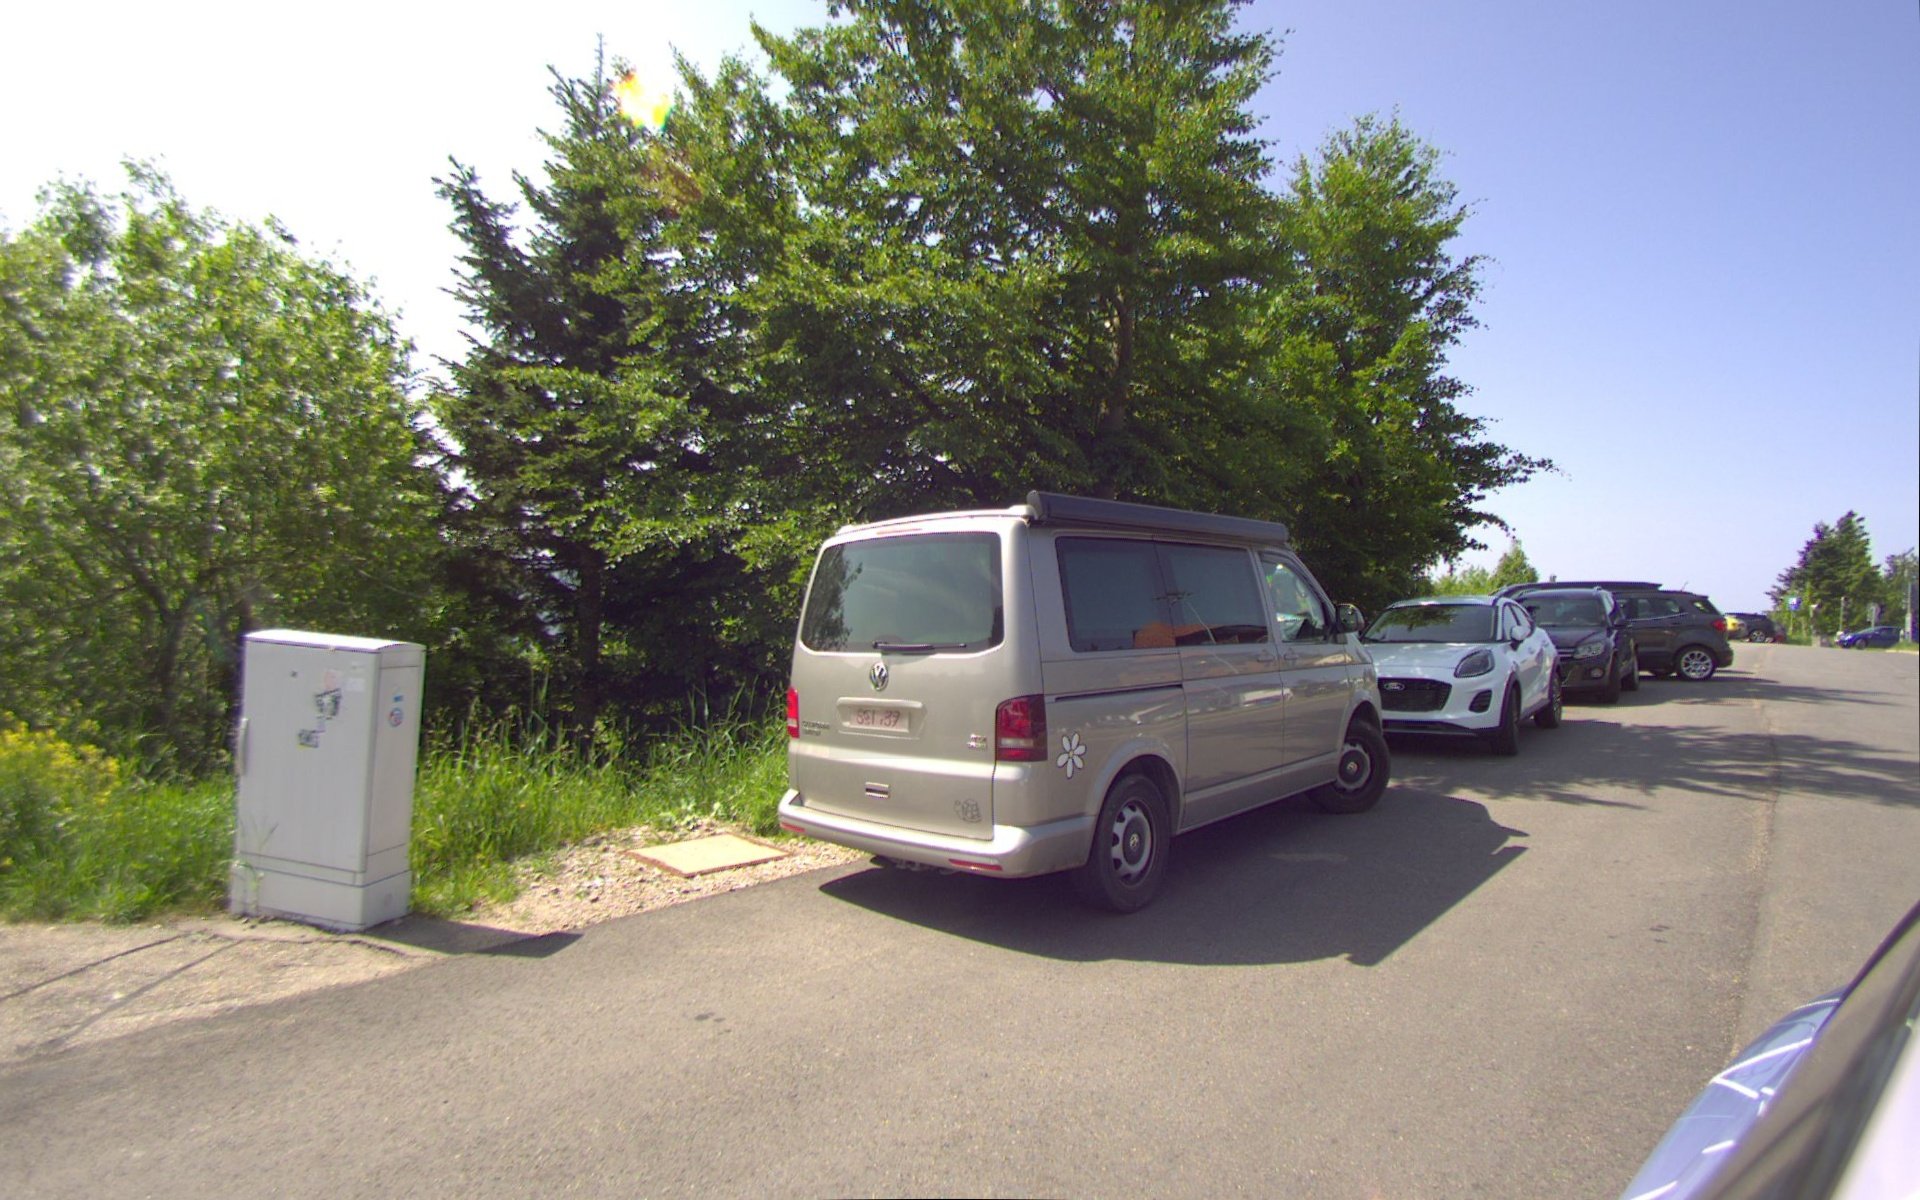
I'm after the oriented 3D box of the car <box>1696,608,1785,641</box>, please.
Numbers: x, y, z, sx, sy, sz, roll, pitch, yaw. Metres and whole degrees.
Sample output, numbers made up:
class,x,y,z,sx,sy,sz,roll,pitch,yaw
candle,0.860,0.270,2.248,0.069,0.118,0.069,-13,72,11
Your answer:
class,x,y,z,sx,sy,sz,roll,pitch,yaw
car,45.200,1.367,58.655,3.900,1.634,1.847,4,2,43

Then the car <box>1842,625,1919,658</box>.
class,x,y,z,sx,sy,sz,roll,pitch,yaw
car,53.980,2.400,58.619,3.858,1.634,1.867,3,1,16

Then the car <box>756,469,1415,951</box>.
class,x,y,z,sx,sy,sz,roll,pitch,yaw
car,1.124,0.473,6.439,1.856,1.960,4.537,-2,-2,43

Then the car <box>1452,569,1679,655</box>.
class,x,y,z,sx,sy,sz,roll,pitch,yaw
car,14.568,0.312,24.668,4.406,1.950,1.863,-1,-1,21

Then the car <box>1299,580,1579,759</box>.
class,x,y,z,sx,sy,sz,roll,pitch,yaw
car,5.339,0.628,11.012,1.867,1.567,3.943,-1,-1,39

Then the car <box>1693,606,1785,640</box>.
class,x,y,z,sx,sy,sz,roll,pitch,yaw
car,43.569,1.255,56.667,3.900,1.634,1.847,4,2,43

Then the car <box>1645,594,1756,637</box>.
class,x,y,z,sx,sy,sz,roll,pitch,yaw
car,38.722,0.762,52.993,4.446,1.949,1.847,4,2,43

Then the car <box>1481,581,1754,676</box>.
class,x,y,z,sx,sy,sz,roll,pitch,yaw
car,12.170,0.530,19.069,3.951,1.639,1.863,-1,-1,21

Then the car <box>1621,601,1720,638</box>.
class,x,y,z,sx,sy,sz,roll,pitch,yaw
car,36.205,0.945,51.637,3.900,1.634,1.847,4,2,43

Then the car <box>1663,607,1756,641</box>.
class,x,y,z,sx,sy,sz,roll,pitch,yaw
car,40.916,1.277,55.276,3.900,1.634,1.847,4,2,43

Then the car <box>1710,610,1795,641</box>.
class,x,y,z,sx,sy,sz,roll,pitch,yaw
car,48.076,1.518,61.439,3.900,1.634,1.847,4,2,43

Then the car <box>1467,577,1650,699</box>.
class,x,y,z,sx,sy,sz,roll,pitch,yaw
car,9.354,0.526,15.679,1.867,1.639,3.943,-1,-1,39
